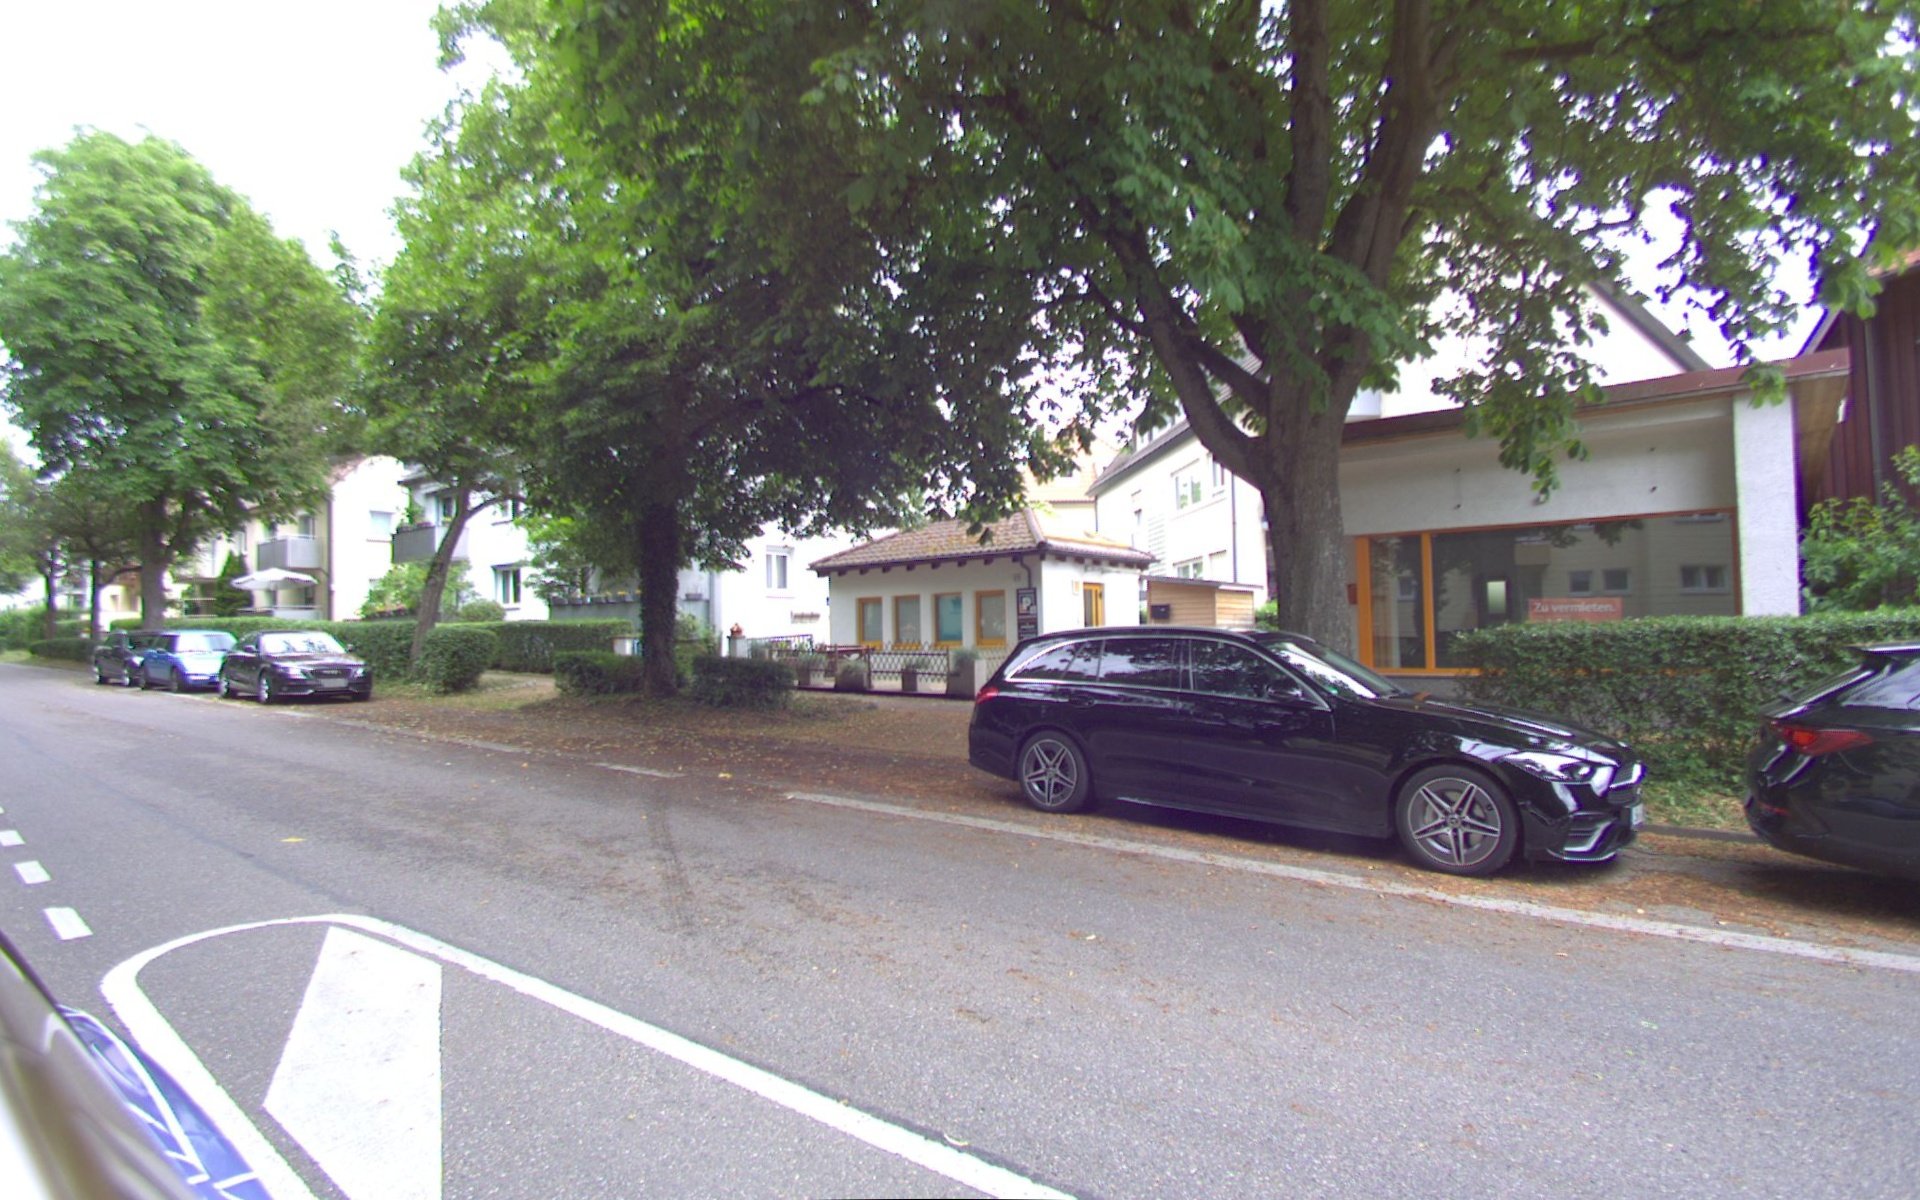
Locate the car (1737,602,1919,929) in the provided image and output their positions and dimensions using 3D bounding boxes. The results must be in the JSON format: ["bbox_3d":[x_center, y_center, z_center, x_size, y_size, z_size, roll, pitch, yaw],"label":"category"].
[{"bbox_3d":[6.200,0.744,4.312,4.536,1.497,1.674,-2,-3,38],"label":"car"}]

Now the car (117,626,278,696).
[{"bbox_3d":[-18.170,1.395,24.039,4.558,1.512,1.866,-2,-3,37],"label":"car"}]

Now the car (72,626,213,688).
[{"bbox_3d":[-21.869,1.485,27.017,4.558,1.545,1.866,-2,-3,37],"label":"car"}]

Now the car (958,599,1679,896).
[{"bbox_3d":[2.363,0.842,7.455,4.612,1.511,1.973,-2,-3,41],"label":"car"}]

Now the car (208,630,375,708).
[{"bbox_3d":[-13.462,1.320,20.289,4.169,1.414,1.713,-2,-3,41],"label":"car"}]
